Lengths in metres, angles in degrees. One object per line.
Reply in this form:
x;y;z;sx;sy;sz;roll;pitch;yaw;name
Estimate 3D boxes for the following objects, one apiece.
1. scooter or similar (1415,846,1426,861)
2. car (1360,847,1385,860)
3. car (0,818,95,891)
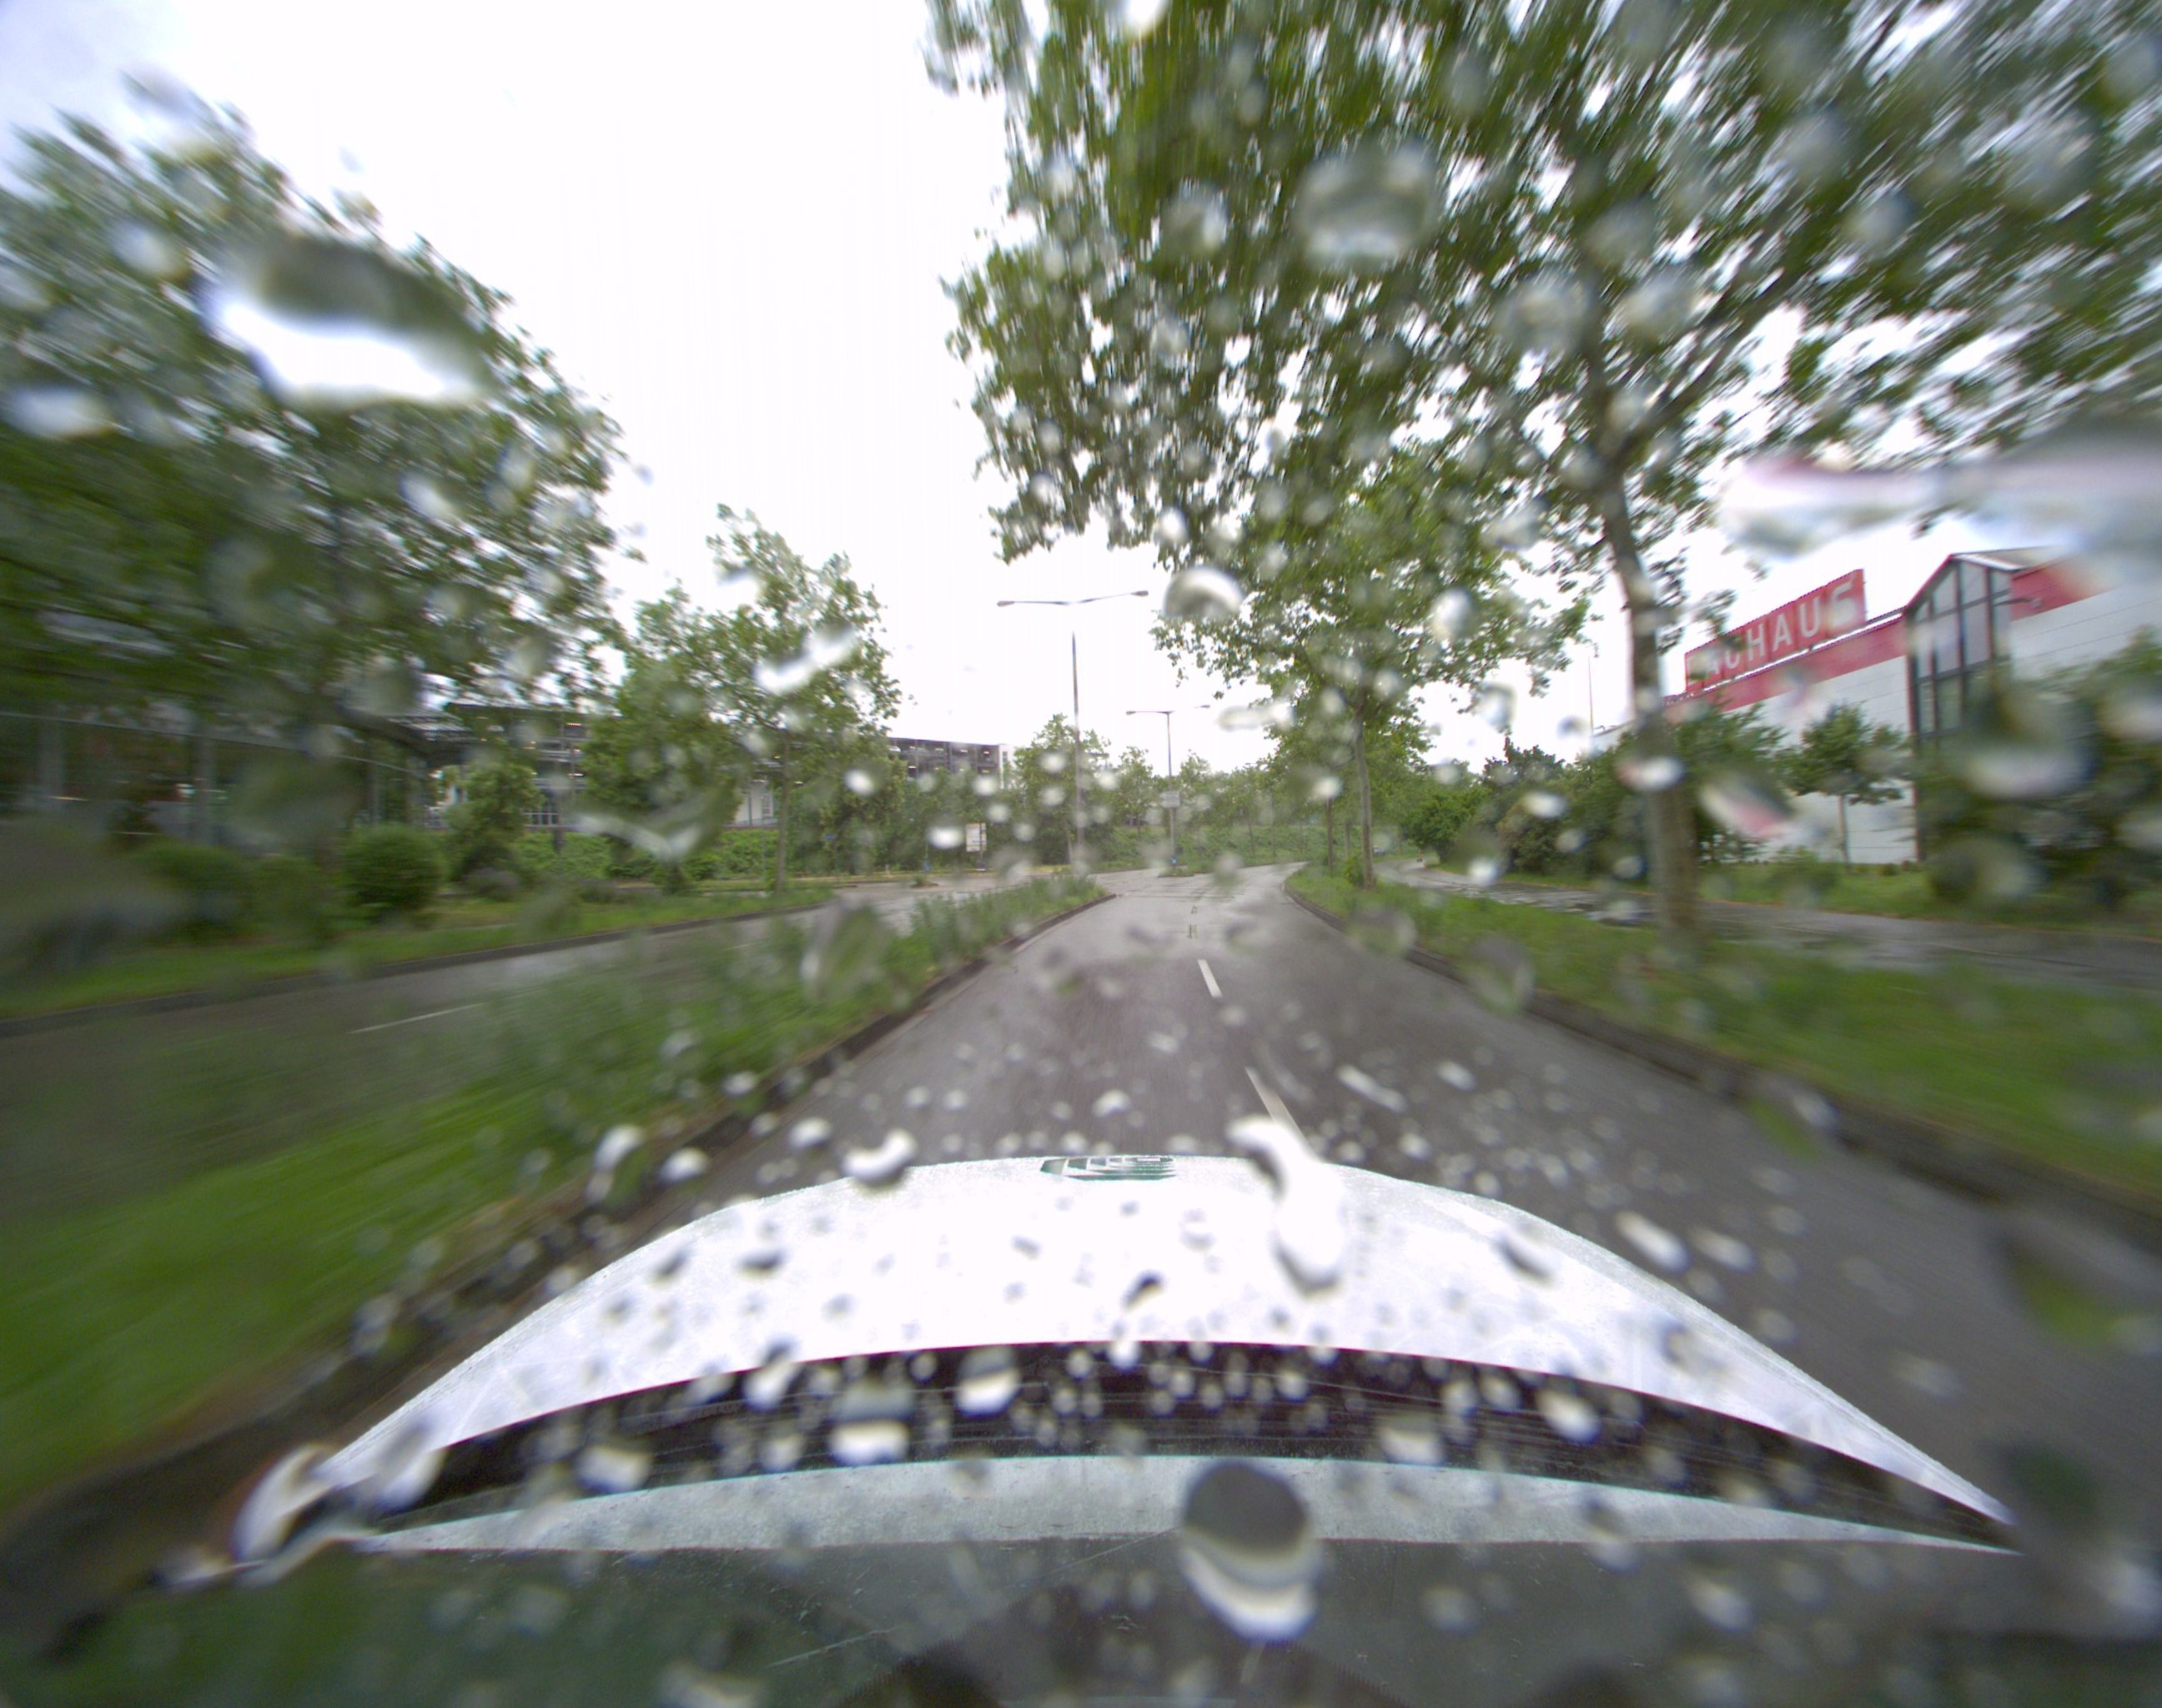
27.451;-0.043;65.810;0.545;1.198;1.115;-2;0;11;scooter or similar
36.490;-0.035;101.965;1.762;1.555;4.025;0;1;39;car
-22.827;0.030;15.994;1.762;1.476;4.138;-1;0;29;car
